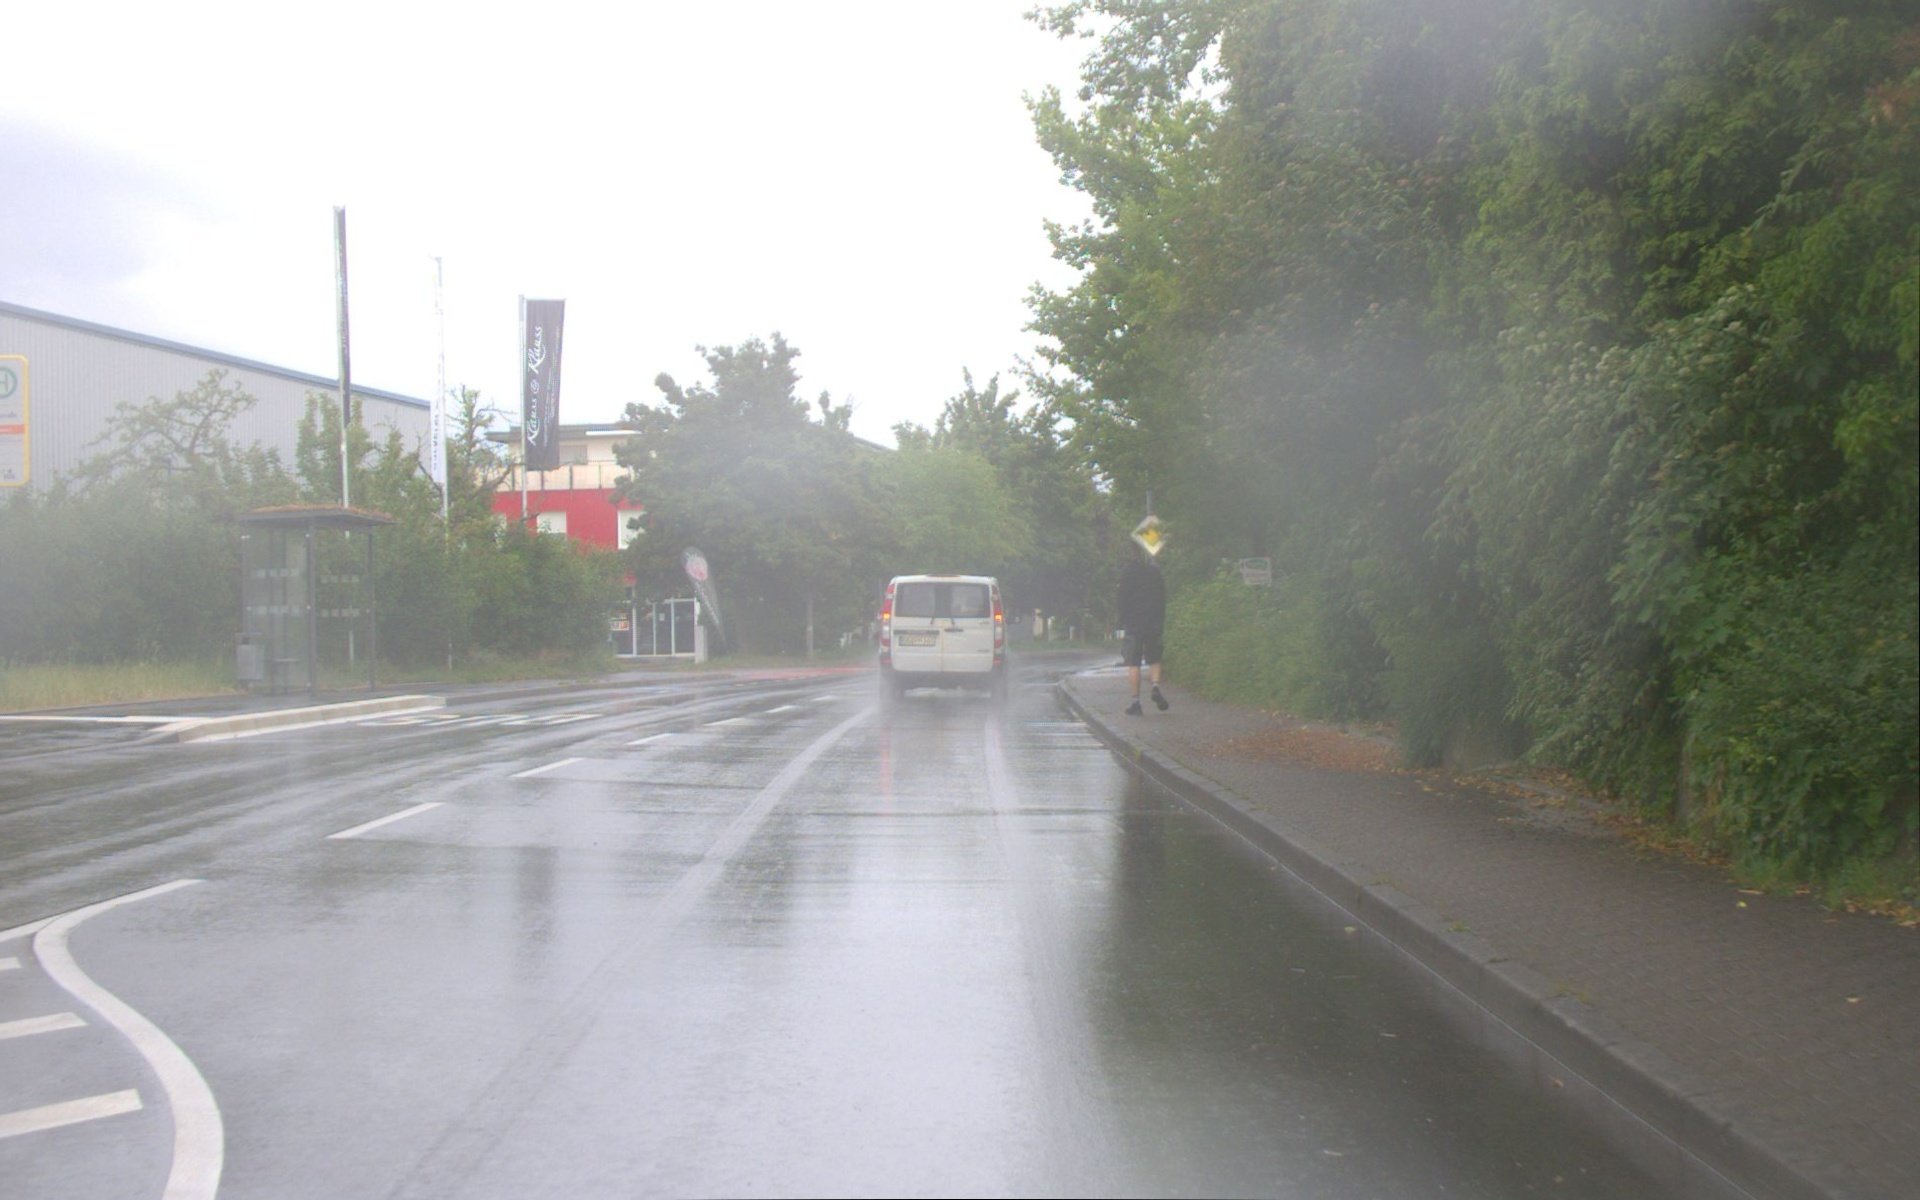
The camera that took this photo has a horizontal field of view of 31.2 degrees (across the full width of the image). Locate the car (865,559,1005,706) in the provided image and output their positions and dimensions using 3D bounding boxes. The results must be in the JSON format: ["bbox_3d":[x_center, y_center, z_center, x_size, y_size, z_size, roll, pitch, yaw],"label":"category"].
[{"bbox_3d":[-0.335,0.449,51.936,1.899,2.011,5.373,-3,0,1],"label":"car"}]

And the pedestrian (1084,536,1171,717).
[{"bbox_3d":[1.809,0.288,37.280,0.776,1.900,0.728,-4,-1,-1],"label":"pedestrian"}]
